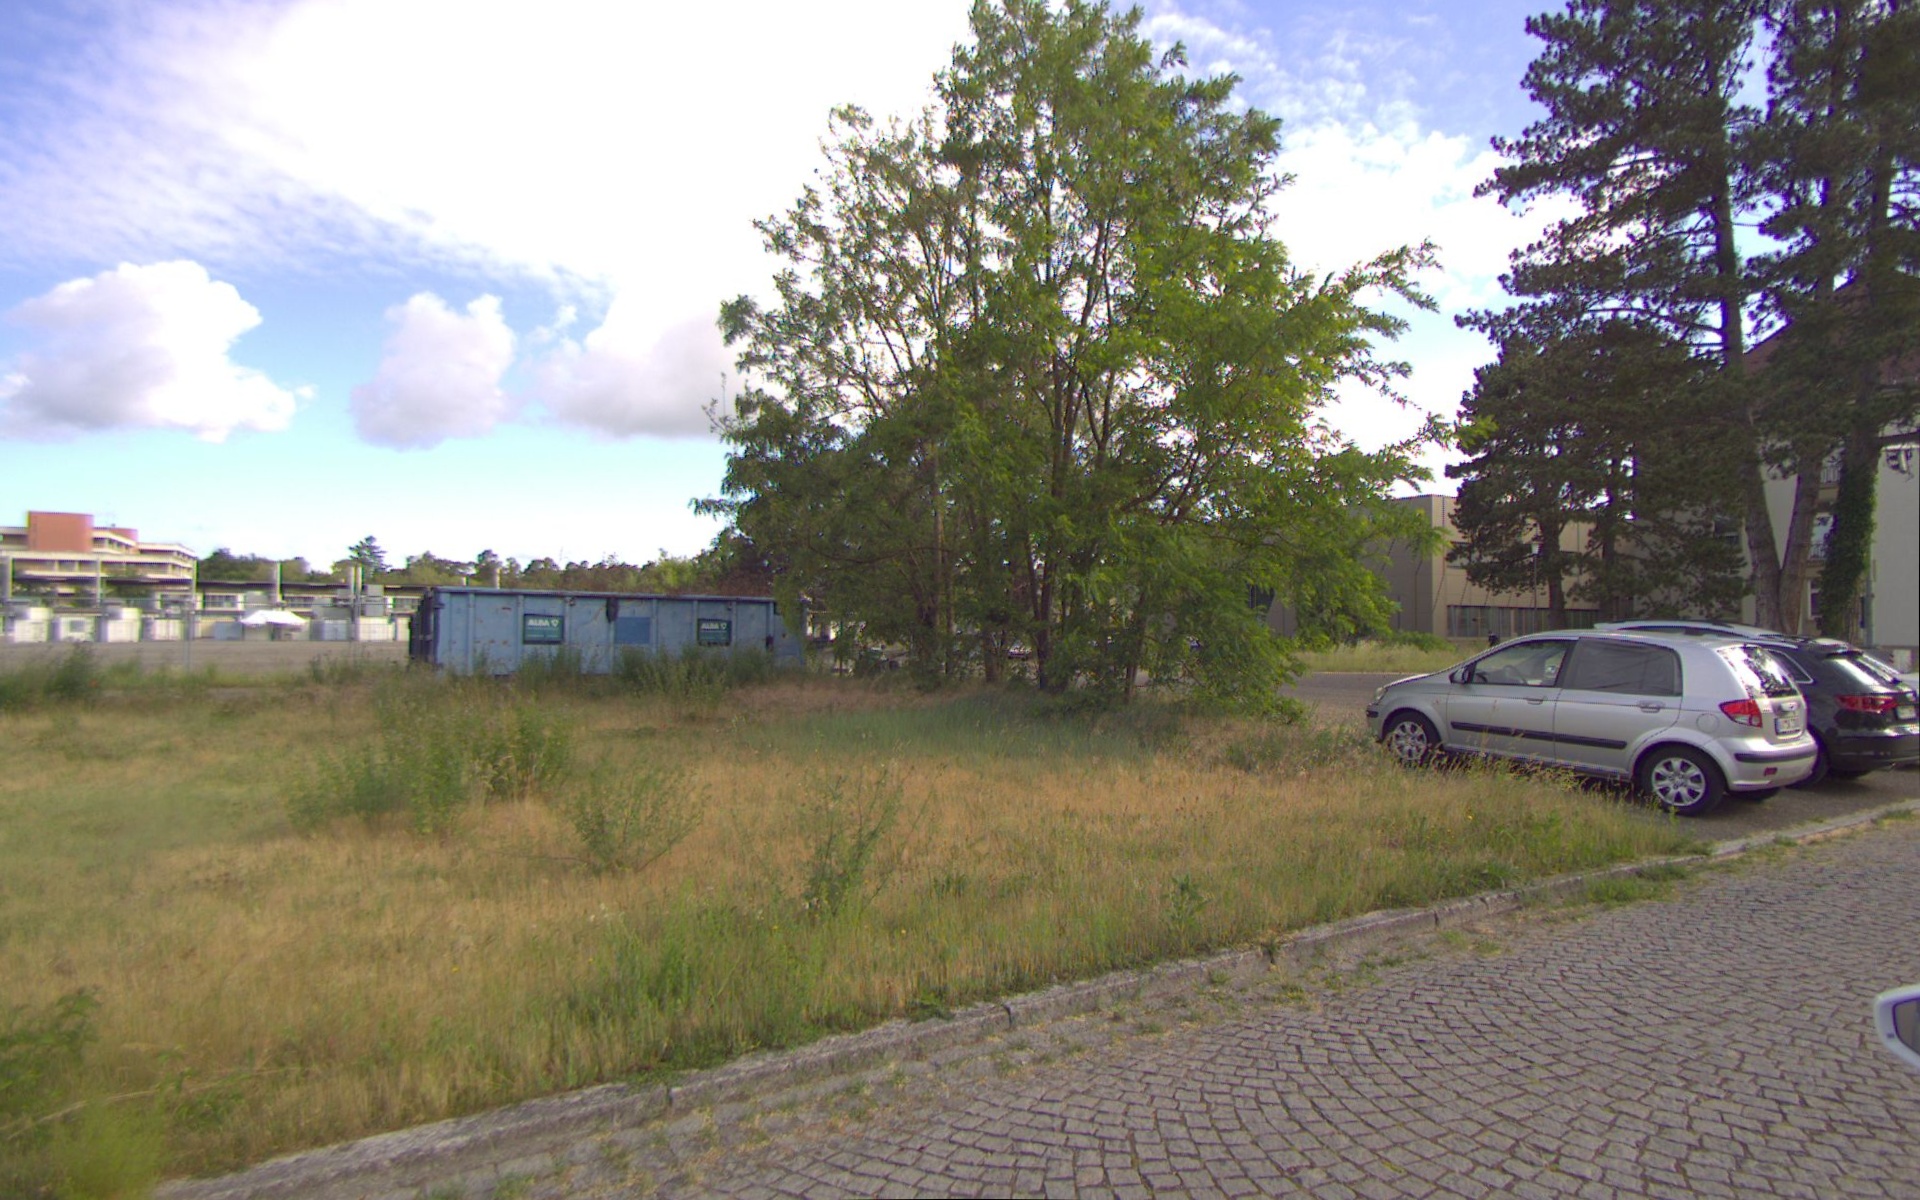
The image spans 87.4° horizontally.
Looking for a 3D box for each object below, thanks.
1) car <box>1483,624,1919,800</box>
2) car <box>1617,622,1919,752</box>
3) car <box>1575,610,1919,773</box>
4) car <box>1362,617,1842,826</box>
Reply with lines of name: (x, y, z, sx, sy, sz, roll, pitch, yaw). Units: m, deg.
car: (8.144, 1.071, 11.168, 1.676, 1.427, 3.816, 1, 1, -31)
car: (12.333, 1.180, 14.439, 1.811, 1.461, 4.449, 1, 2, -34)
car: (10.429, 1.048, 12.995, 1.717, 1.629, 3.808, 1, 2, -33)
car: (5.977, 0.989, 9.750, 1.629, 1.495, 3.555, 2, 1, -33)
